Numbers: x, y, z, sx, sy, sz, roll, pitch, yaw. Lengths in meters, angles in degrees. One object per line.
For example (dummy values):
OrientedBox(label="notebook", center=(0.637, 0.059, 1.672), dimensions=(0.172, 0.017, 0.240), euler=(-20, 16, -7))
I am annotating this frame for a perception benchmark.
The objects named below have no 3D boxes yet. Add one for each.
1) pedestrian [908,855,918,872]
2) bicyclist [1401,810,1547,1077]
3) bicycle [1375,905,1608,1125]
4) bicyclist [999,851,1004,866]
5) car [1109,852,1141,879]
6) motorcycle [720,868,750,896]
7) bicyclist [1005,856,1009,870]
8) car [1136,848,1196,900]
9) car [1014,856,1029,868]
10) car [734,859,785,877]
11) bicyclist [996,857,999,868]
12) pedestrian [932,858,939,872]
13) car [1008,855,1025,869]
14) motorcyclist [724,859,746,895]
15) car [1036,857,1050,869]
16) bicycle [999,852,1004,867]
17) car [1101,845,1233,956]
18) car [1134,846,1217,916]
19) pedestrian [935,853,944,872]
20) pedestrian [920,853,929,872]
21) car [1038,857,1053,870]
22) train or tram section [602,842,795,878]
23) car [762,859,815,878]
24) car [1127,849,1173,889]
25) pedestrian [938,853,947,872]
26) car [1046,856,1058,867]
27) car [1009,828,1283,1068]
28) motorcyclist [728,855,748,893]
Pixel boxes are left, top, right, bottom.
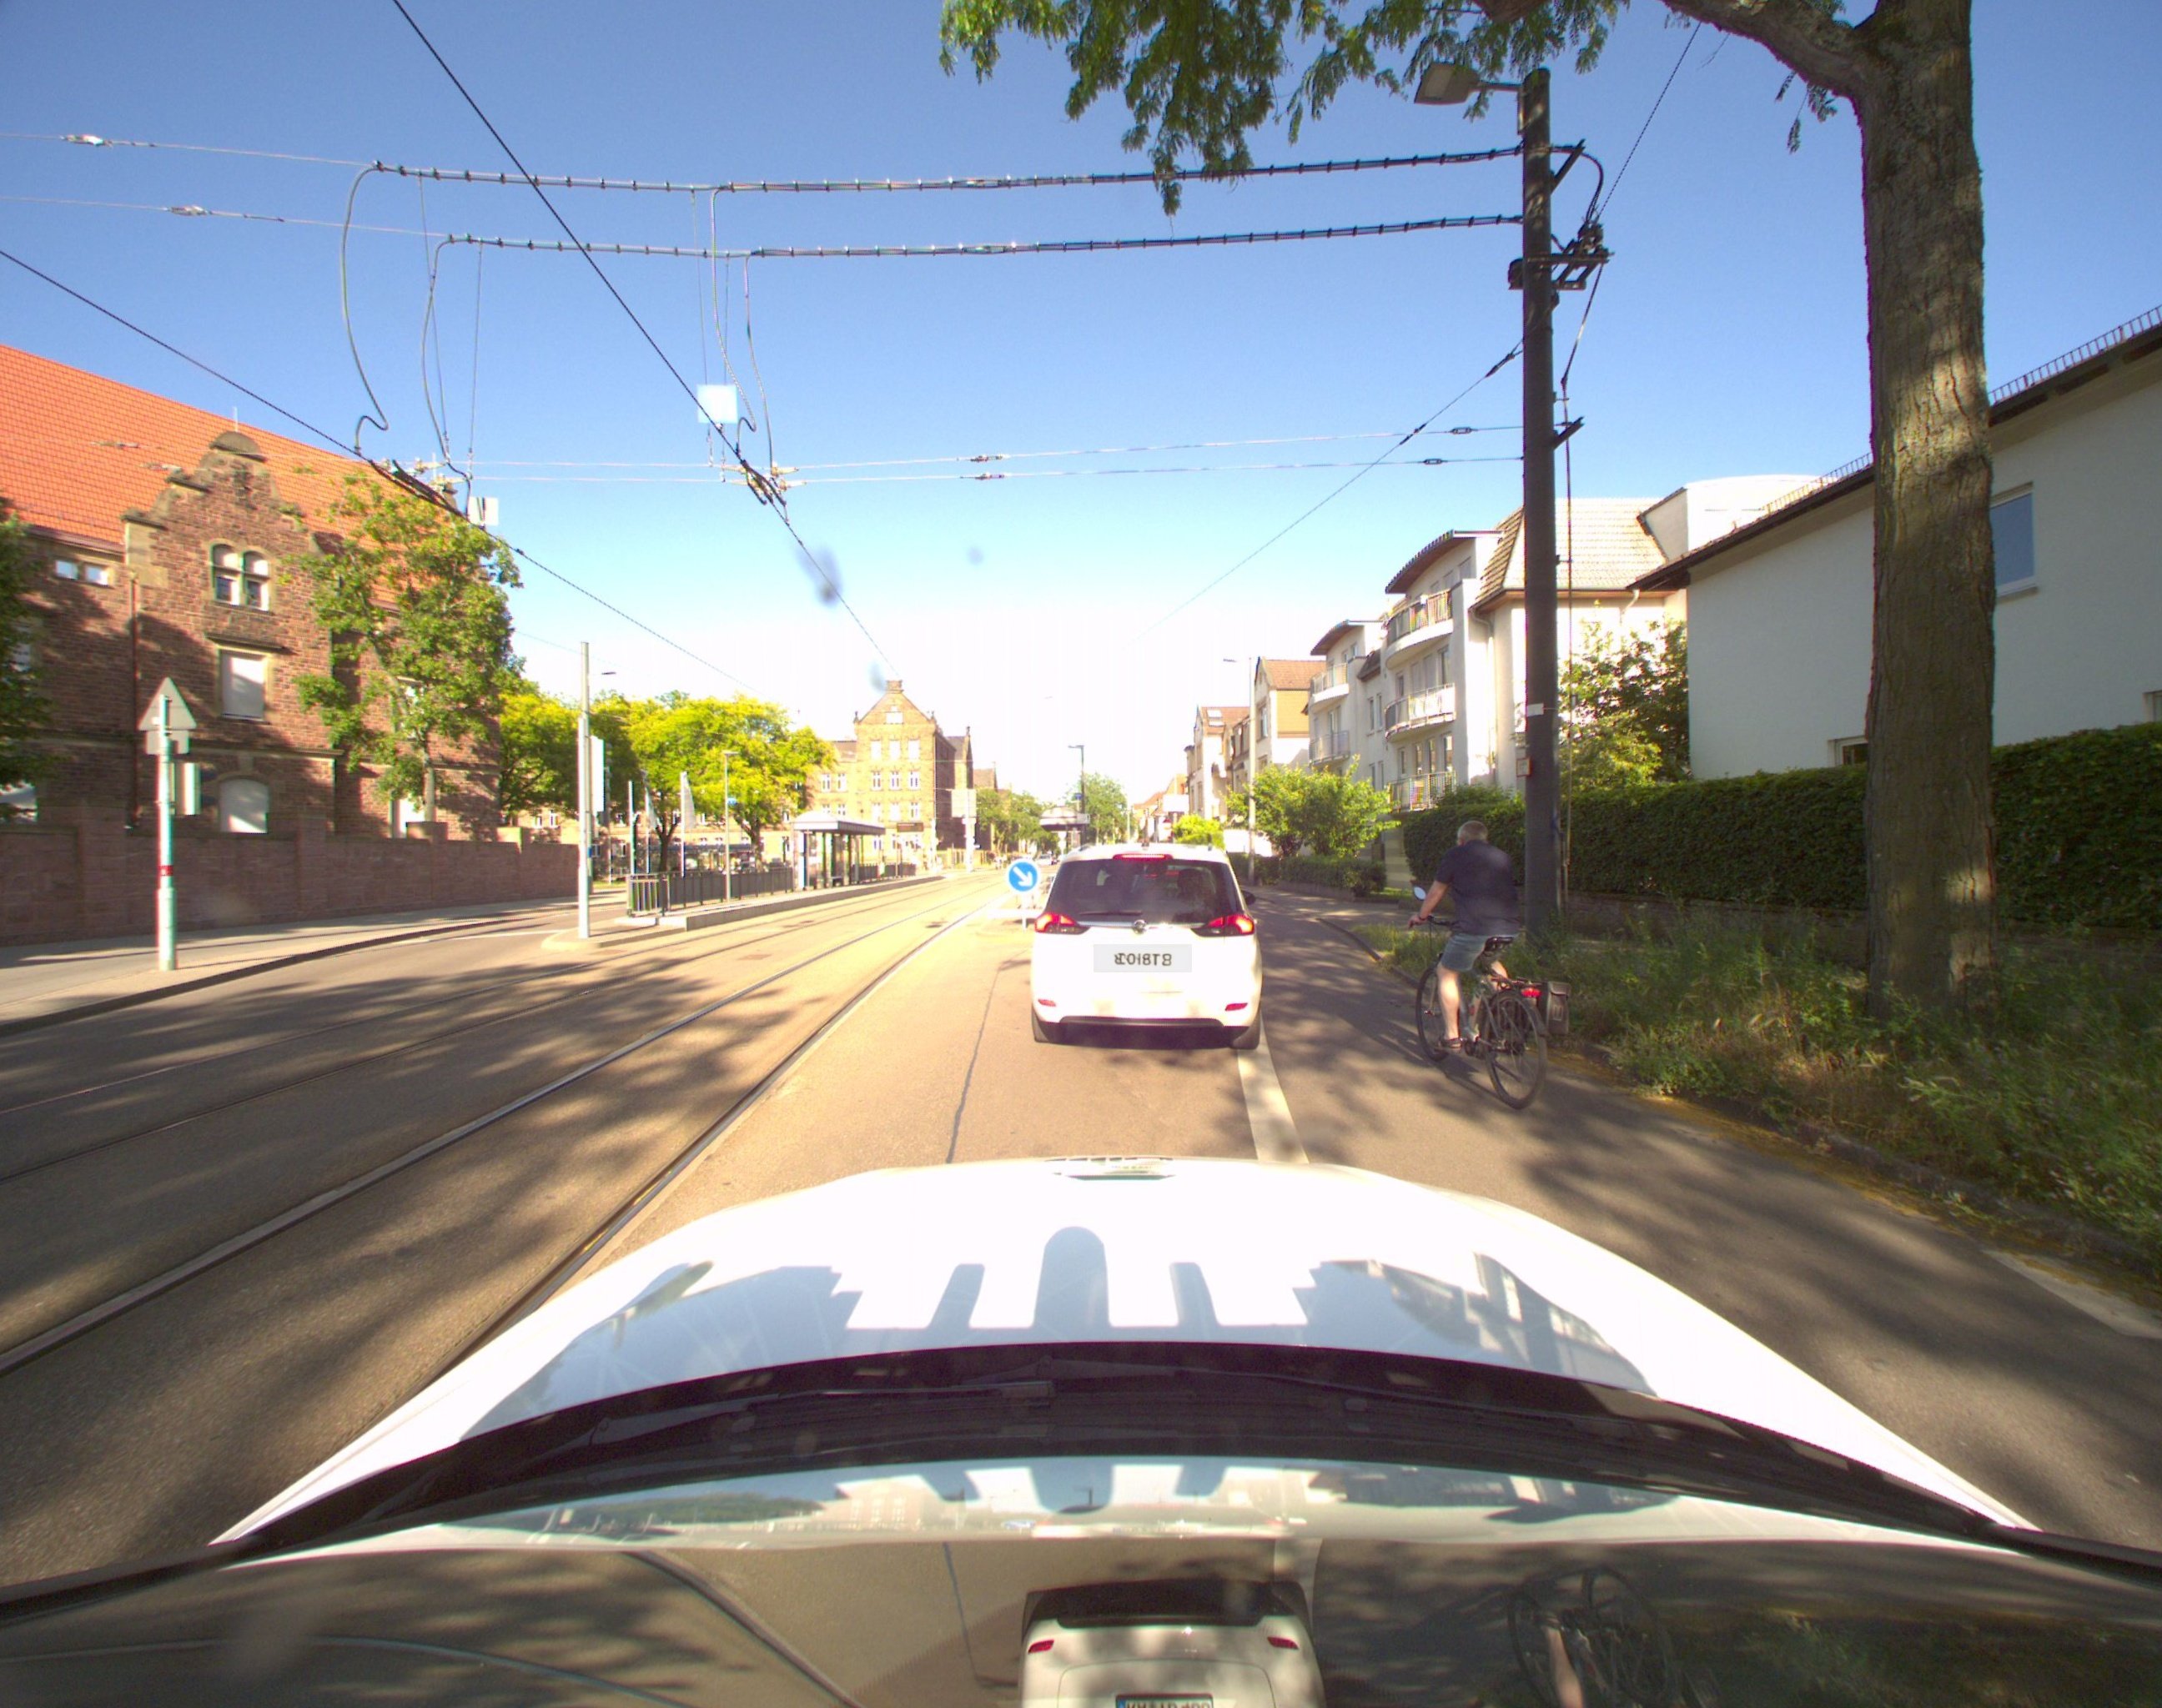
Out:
OrientedBox(label="pedestrian", center=(-18.447, 1.013, 89.648), dimensions=(0.802, 1.901, 0.747), euler=(-1, -1, 16))
OrientedBox(label="bicyclist", center=(2.646, 0.567, 5.557), dimensions=(0.613, 1.686, 0.779), euler=(-1, 0, 2))
OrientedBox(label="bicycle", center=(2.651, 0.962, 5.539), dimensions=(0.621, 1.097, 1.974), euler=(-1, 0, 2))
OrientedBox(label="bicyclist", center=(-10.682, 0.655, 109.445), dimensions=(0.496, 2.013, 0.572), euler=(-1, 0, 1))
OrientedBox(label="car", center=(2.844, 0.753, 53.174), dimensions=(1.901, 1.661, 4.000), euler=(-1, 0, 0))
OrientedBox(label="motorcycle", center=(-13.905, 1.110, 32.762), dimensions=(0.609, 1.093, 1.851), euler=(-1, 0, -7))
OrientedBox(label="bicyclist", center=(-10.232, 1.228, 112.369), dimensions=(0.486, 2.014, 0.502), euler=(0, -1, 1))
OrientedBox(label="car", center=(2.977, 0.652, 28.337), dimensions=(1.897, 1.661, 4.007), euler=(-1, 0, 6))
OrientedBox(label="car", center=(-8.327, 1.122, 114.111), dimensions=(1.740, 1.716, 4.001), euler=(0, -1, 2))
OrientedBox(label="car", center=(-29.650, 1.319, 75.207), dimensions=(3.976, 1.630, 1.817), euler=(0, -1, -2))
OrientedBox(label="bicyclist", center=(-10.662, 1.062, 103.491), dimensions=(0.312, 1.444, 0.384), euler=(-1, 0, 1))
OrientedBox(label="pedestrian", center=(-17.119, 1.262, 95.958), dimensions=(0.651, 1.612, 0.712), euler=(0, -1, 4))
OrientedBox(label="car", center=(-8.496, 1.036, 107.444), dimensions=(1.740, 1.716, 4.001), euler=(0, -1, 2))
OrientedBox(label="motorcyclist", center=(-13.894, 0.924, 32.694), dimensions=(0.683, 1.440, 0.445), euler=(-1, 0, -8))
OrientedBox(label="car", center=(-5.367, 1.294, 115.543), dimensions=(1.740, 1.716, 4.001), euler=(0, -1, 2))
OrientedBox(label="bicycle", center=(-10.678, 0.713, 109.431), dimensions=(0.485, 2.013, 1.406), euler=(-1, 0, 2))
OrientedBox(label="car", center=(1.560, 0.686, 13.860), dimensions=(1.896, 1.597, 4.010), euler=(-1, 0, 9))
OrientedBox(label="car", center=(2.522, 0.639, 21.066), dimensions=(1.896, 1.624, 4.010), euler=(-1, 0, 9))
OrientedBox(label="pedestrian", center=(-15.551, 0.940, 89.527), dimensions=(0.801, 2.014, 0.713), euler=(0, -1, -35))
OrientedBox(label="pedestrian", center=(-17.059, 0.946, 88.941), dimensions=(0.800, 2.014, 0.713), euler=(0, -1, -32))
OrientedBox(label="car", center=(-4.704, 1.262, 107.664), dimensions=(1.740, 1.716, 4.001), euler=(0, -1, 2))
OrientedBox(label="train or tram section", center=(-37.841, 0.581, 81.139), dimensions=(17.346, 3.154, 3.344), euler=(-1, -1, -3))
OrientedBox(label="car", center=(-25.443, 1.243, 70.964), dimensions=(3.976, 1.630, 1.817), euler=(0, -1, -2))
OrientedBox(label="car", center=(2.998, 0.617, 36.181), dimensions=(1.899, 1.661, 4.003), euler=(-1, 0, 3))
OrientedBox(label="pedestrian", center=(-14.552, 0.872, 85.501), dimensions=(0.796, 2.014, 0.717), euler=(0, -1, -15))
OrientedBox(label="car", center=(-4.599, 1.189, 129.389), dimensions=(1.740, 1.716, 4.001), euler=(0, -1, 2))
OrientedBox(label="car", center=(0.697, 0.663, 7.742), dimensions=(1.897, 1.661, 4.008), euler=(-1, 0, 7))
OrientedBox(label="motorcyclist", center=(-13.958, 0.816, 33.159), dimensions=(0.606, 1.516, 0.465), euler=(-1, 0, -8))
